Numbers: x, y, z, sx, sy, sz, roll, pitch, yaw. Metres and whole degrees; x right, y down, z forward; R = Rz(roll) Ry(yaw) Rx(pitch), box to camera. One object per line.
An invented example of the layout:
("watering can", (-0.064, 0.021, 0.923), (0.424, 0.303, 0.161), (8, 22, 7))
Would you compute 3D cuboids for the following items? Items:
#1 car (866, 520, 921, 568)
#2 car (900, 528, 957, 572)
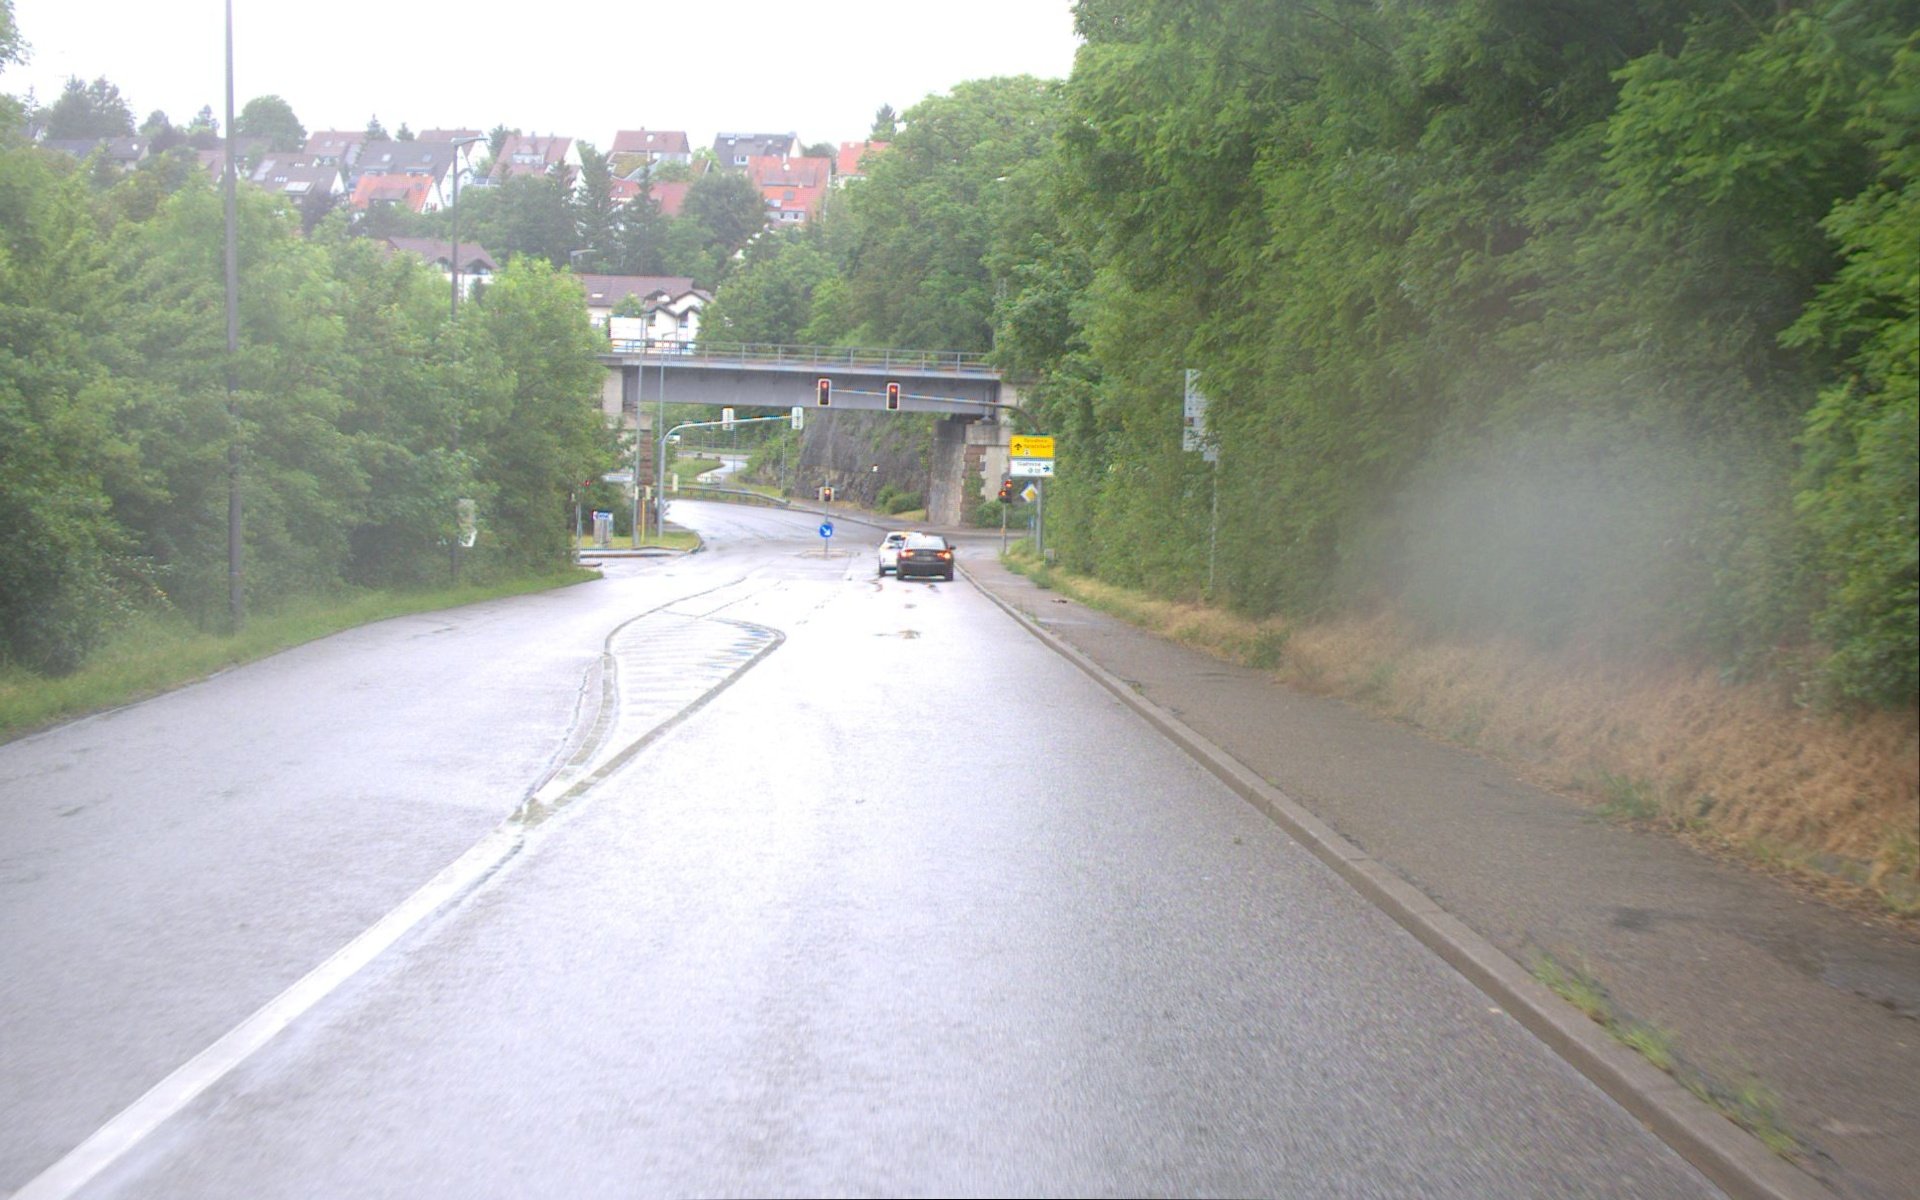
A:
("car", (-2.220, -1.885, 115.357), (1.768, 1.557, 4.000), (0, 1, 0))
("car", (-0.973, -1.583, 108.676), (1.768, 1.375, 4.000), (0, 1, 0))
